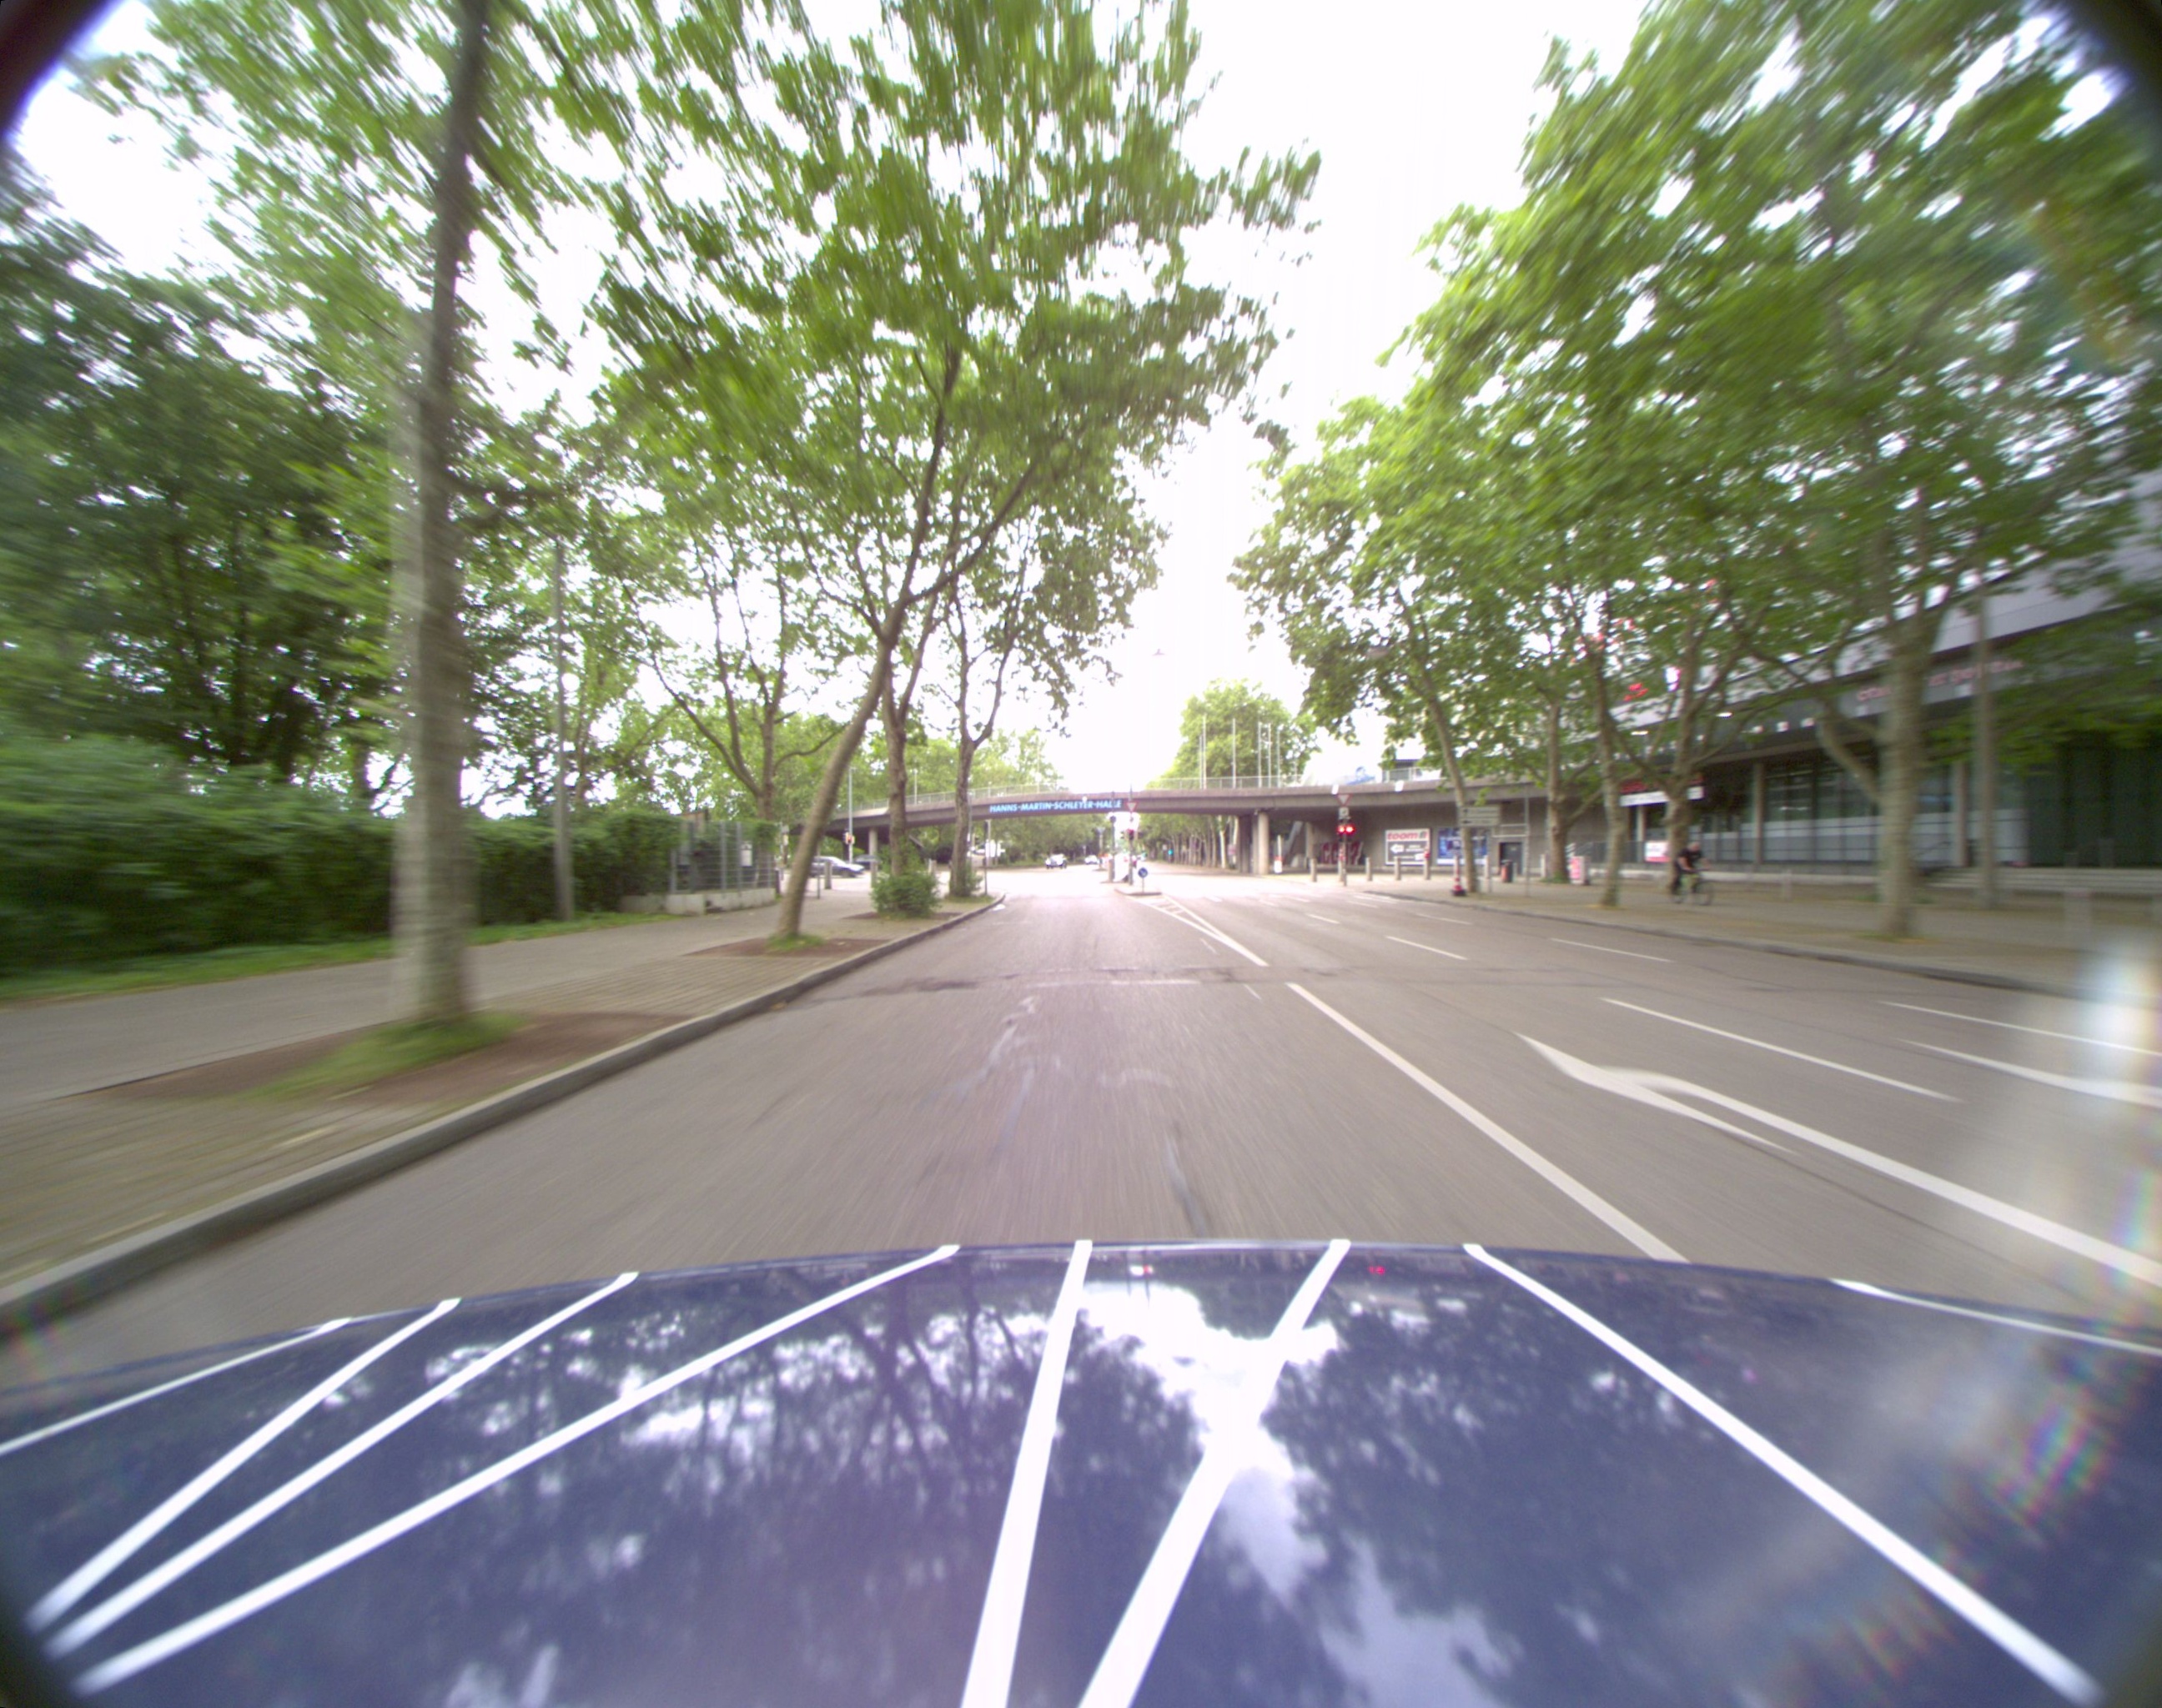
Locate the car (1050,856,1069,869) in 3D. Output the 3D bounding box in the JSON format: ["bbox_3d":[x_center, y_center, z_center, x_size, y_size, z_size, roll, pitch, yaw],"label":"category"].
[{"bbox_3d":[-2.482,0.947,87.150,1.761,1.356,3.716,1,2,5],"label":"car"}]

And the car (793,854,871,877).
[{"bbox_3d":[-17.130,0.776,52.422,4.681,1.437,1.888,-1,1,4],"label":"car"}]

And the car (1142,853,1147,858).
[{"bbox_3d":[19.272,0.399,230.484,1.614,1.305,3.396,0,1,5],"label":"car"}]

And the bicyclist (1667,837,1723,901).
[{"bbox_3d":[16.776,0.388,20.789,0.766,1.688,0.854,1,2,0],"label":"bicyclist"}]

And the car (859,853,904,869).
[{"bbox_3d":[-18.040,0.609,68.723,3.720,1.314,1.760,0,2,-21],"label":"car"}]

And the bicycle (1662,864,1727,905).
[{"bbox_3d":[16.768,0.819,20.810,0.516,1.007,1.537,1,2,0],"label":"bicycle"}]

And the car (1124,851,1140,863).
[{"bbox_3d":[6.533,0.341,96.711,1.832,1.443,4.077,0,1,5],"label":"car"}]

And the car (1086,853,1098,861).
[{"bbox_3d":[2.018,0.506,134.388,1.761,1.356,3.717,1,2,7],"label":"car"}]
